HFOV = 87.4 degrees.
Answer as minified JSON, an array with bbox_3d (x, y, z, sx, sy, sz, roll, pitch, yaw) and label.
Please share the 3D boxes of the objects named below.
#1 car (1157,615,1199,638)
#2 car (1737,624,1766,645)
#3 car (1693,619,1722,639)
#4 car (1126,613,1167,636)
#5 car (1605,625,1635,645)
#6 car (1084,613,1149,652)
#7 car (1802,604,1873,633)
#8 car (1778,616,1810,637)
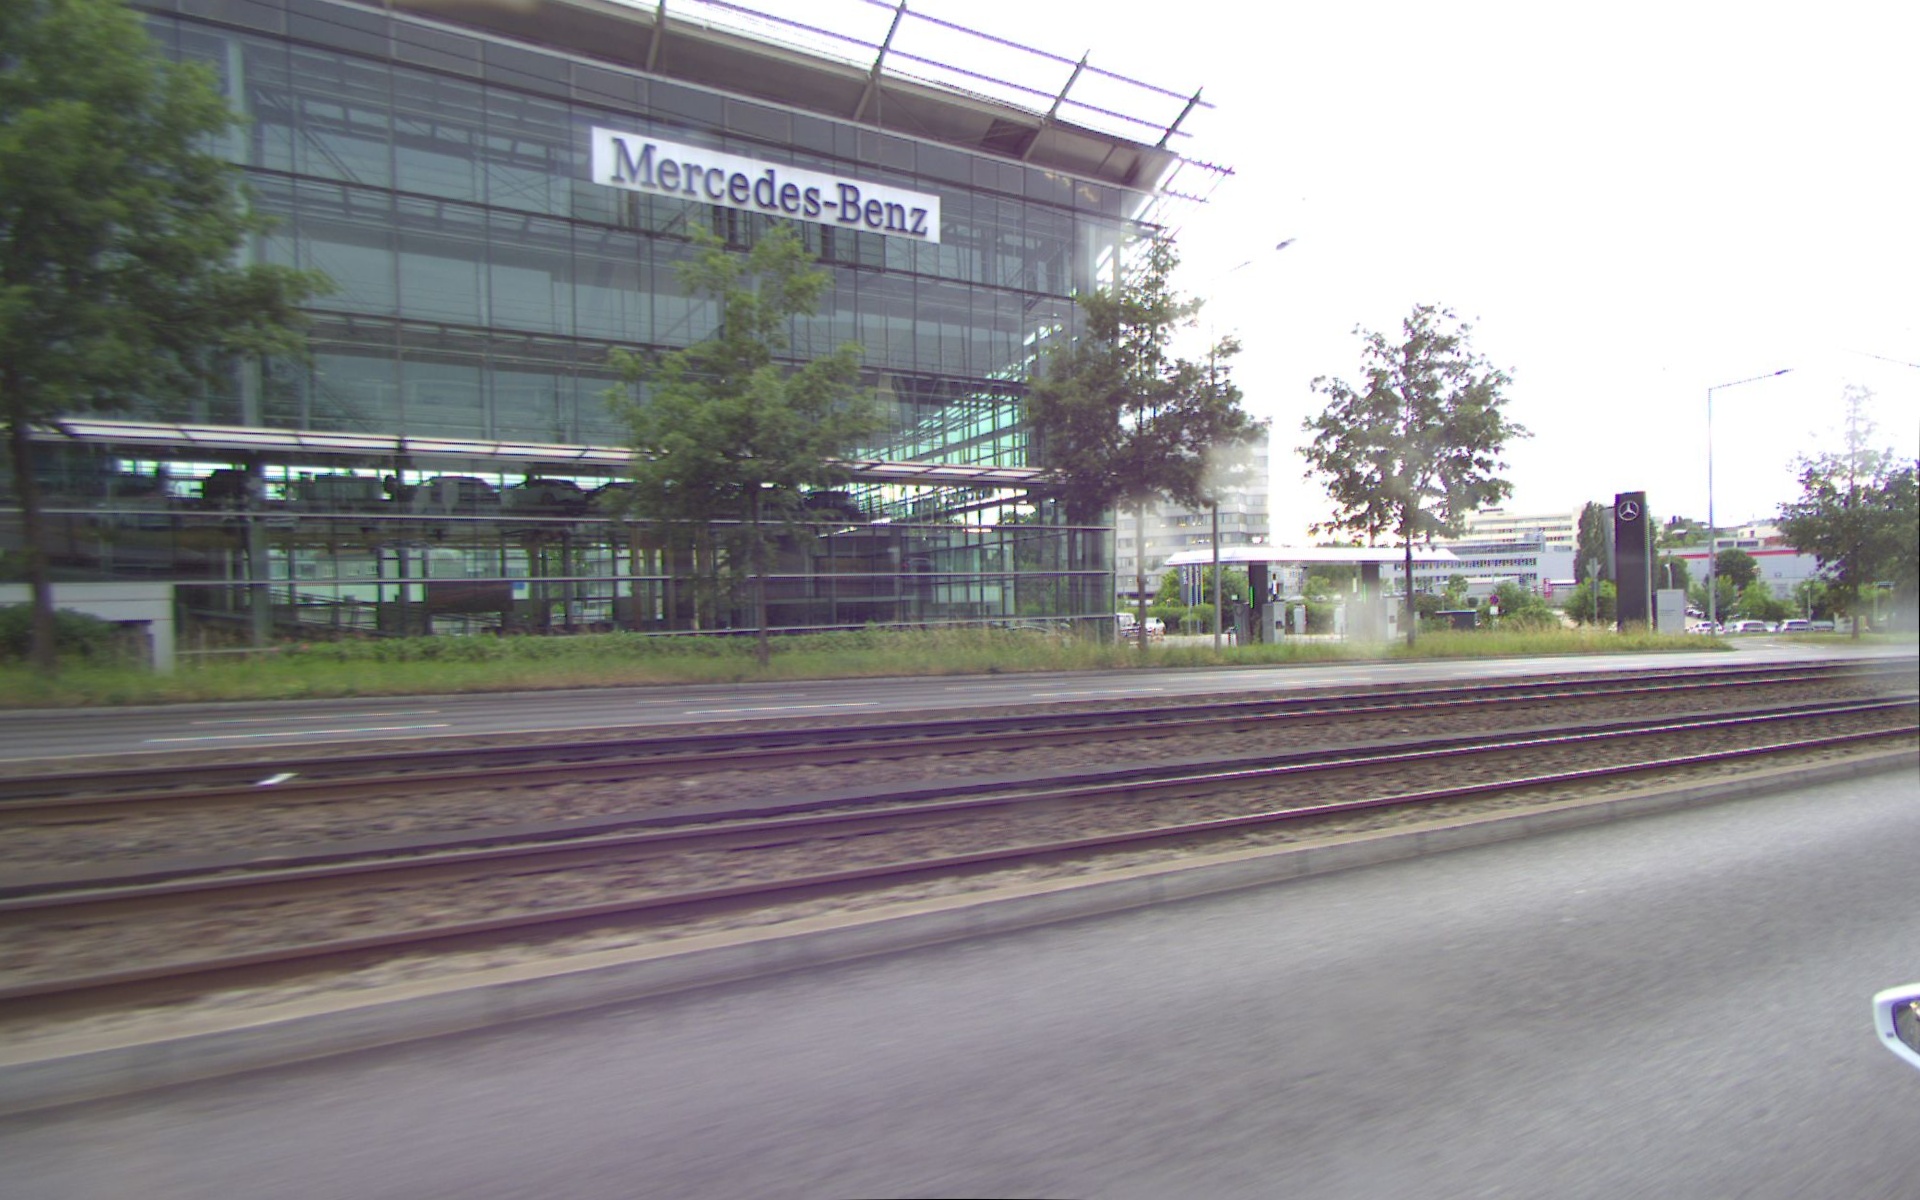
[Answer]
[{"bbox_3d":[17.454,2.102,80.205,1.965,1.751,3.990,3,0,32],"label":"car"},{"bbox_3d":[62.476,2.719,79.322,1.730,1.514,3.983,2,0,38],"label":"car"},{"bbox_3d":[60.289,2.353,80.946,1.730,1.514,3.983,2,0,38],"label":"car"},{"bbox_3d":[15.228,1.962,81.953,1.965,1.751,3.990,3,0,32],"label":"car"},{"bbox_3d":[55.480,2.908,84.405,1.730,1.514,3.983,2,0,38],"label":"car"},{"bbox_3d":[8.255,1.690,52.823,1.862,1.875,3.990,2,0,33],"label":"car"},{"bbox_3d":[56.444,1.176,64.620,3.947,1.672,1.987,2,0,-26],"label":"car"},{"bbox_3d":[64.518,2.043,77.765,1.730,1.514,3.983,2,0,38],"label":"car"}]
